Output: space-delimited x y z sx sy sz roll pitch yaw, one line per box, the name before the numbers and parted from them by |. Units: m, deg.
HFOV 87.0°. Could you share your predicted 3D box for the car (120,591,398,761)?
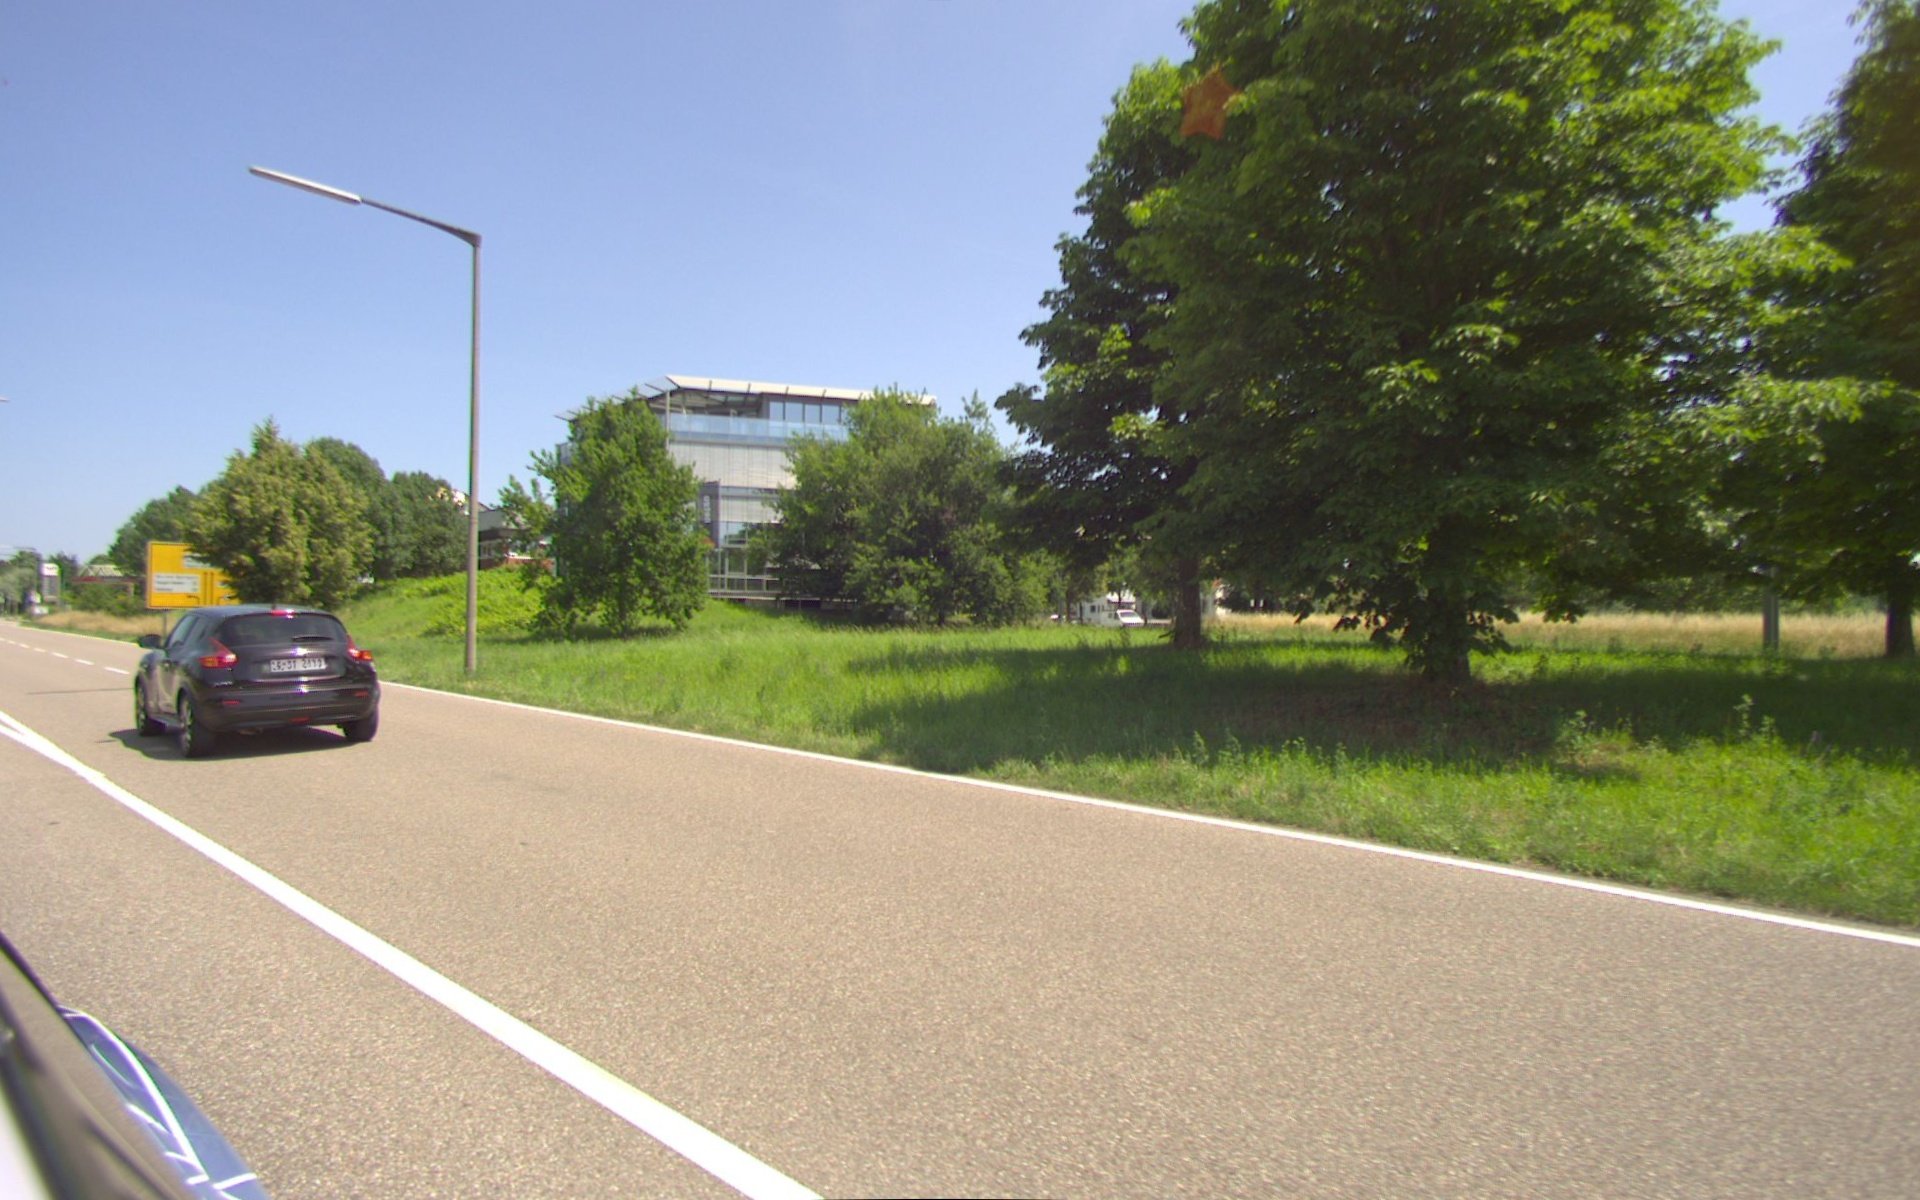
car | -8.167 0.726 11.642 4.113 1.584 1.802 1 -1 44
